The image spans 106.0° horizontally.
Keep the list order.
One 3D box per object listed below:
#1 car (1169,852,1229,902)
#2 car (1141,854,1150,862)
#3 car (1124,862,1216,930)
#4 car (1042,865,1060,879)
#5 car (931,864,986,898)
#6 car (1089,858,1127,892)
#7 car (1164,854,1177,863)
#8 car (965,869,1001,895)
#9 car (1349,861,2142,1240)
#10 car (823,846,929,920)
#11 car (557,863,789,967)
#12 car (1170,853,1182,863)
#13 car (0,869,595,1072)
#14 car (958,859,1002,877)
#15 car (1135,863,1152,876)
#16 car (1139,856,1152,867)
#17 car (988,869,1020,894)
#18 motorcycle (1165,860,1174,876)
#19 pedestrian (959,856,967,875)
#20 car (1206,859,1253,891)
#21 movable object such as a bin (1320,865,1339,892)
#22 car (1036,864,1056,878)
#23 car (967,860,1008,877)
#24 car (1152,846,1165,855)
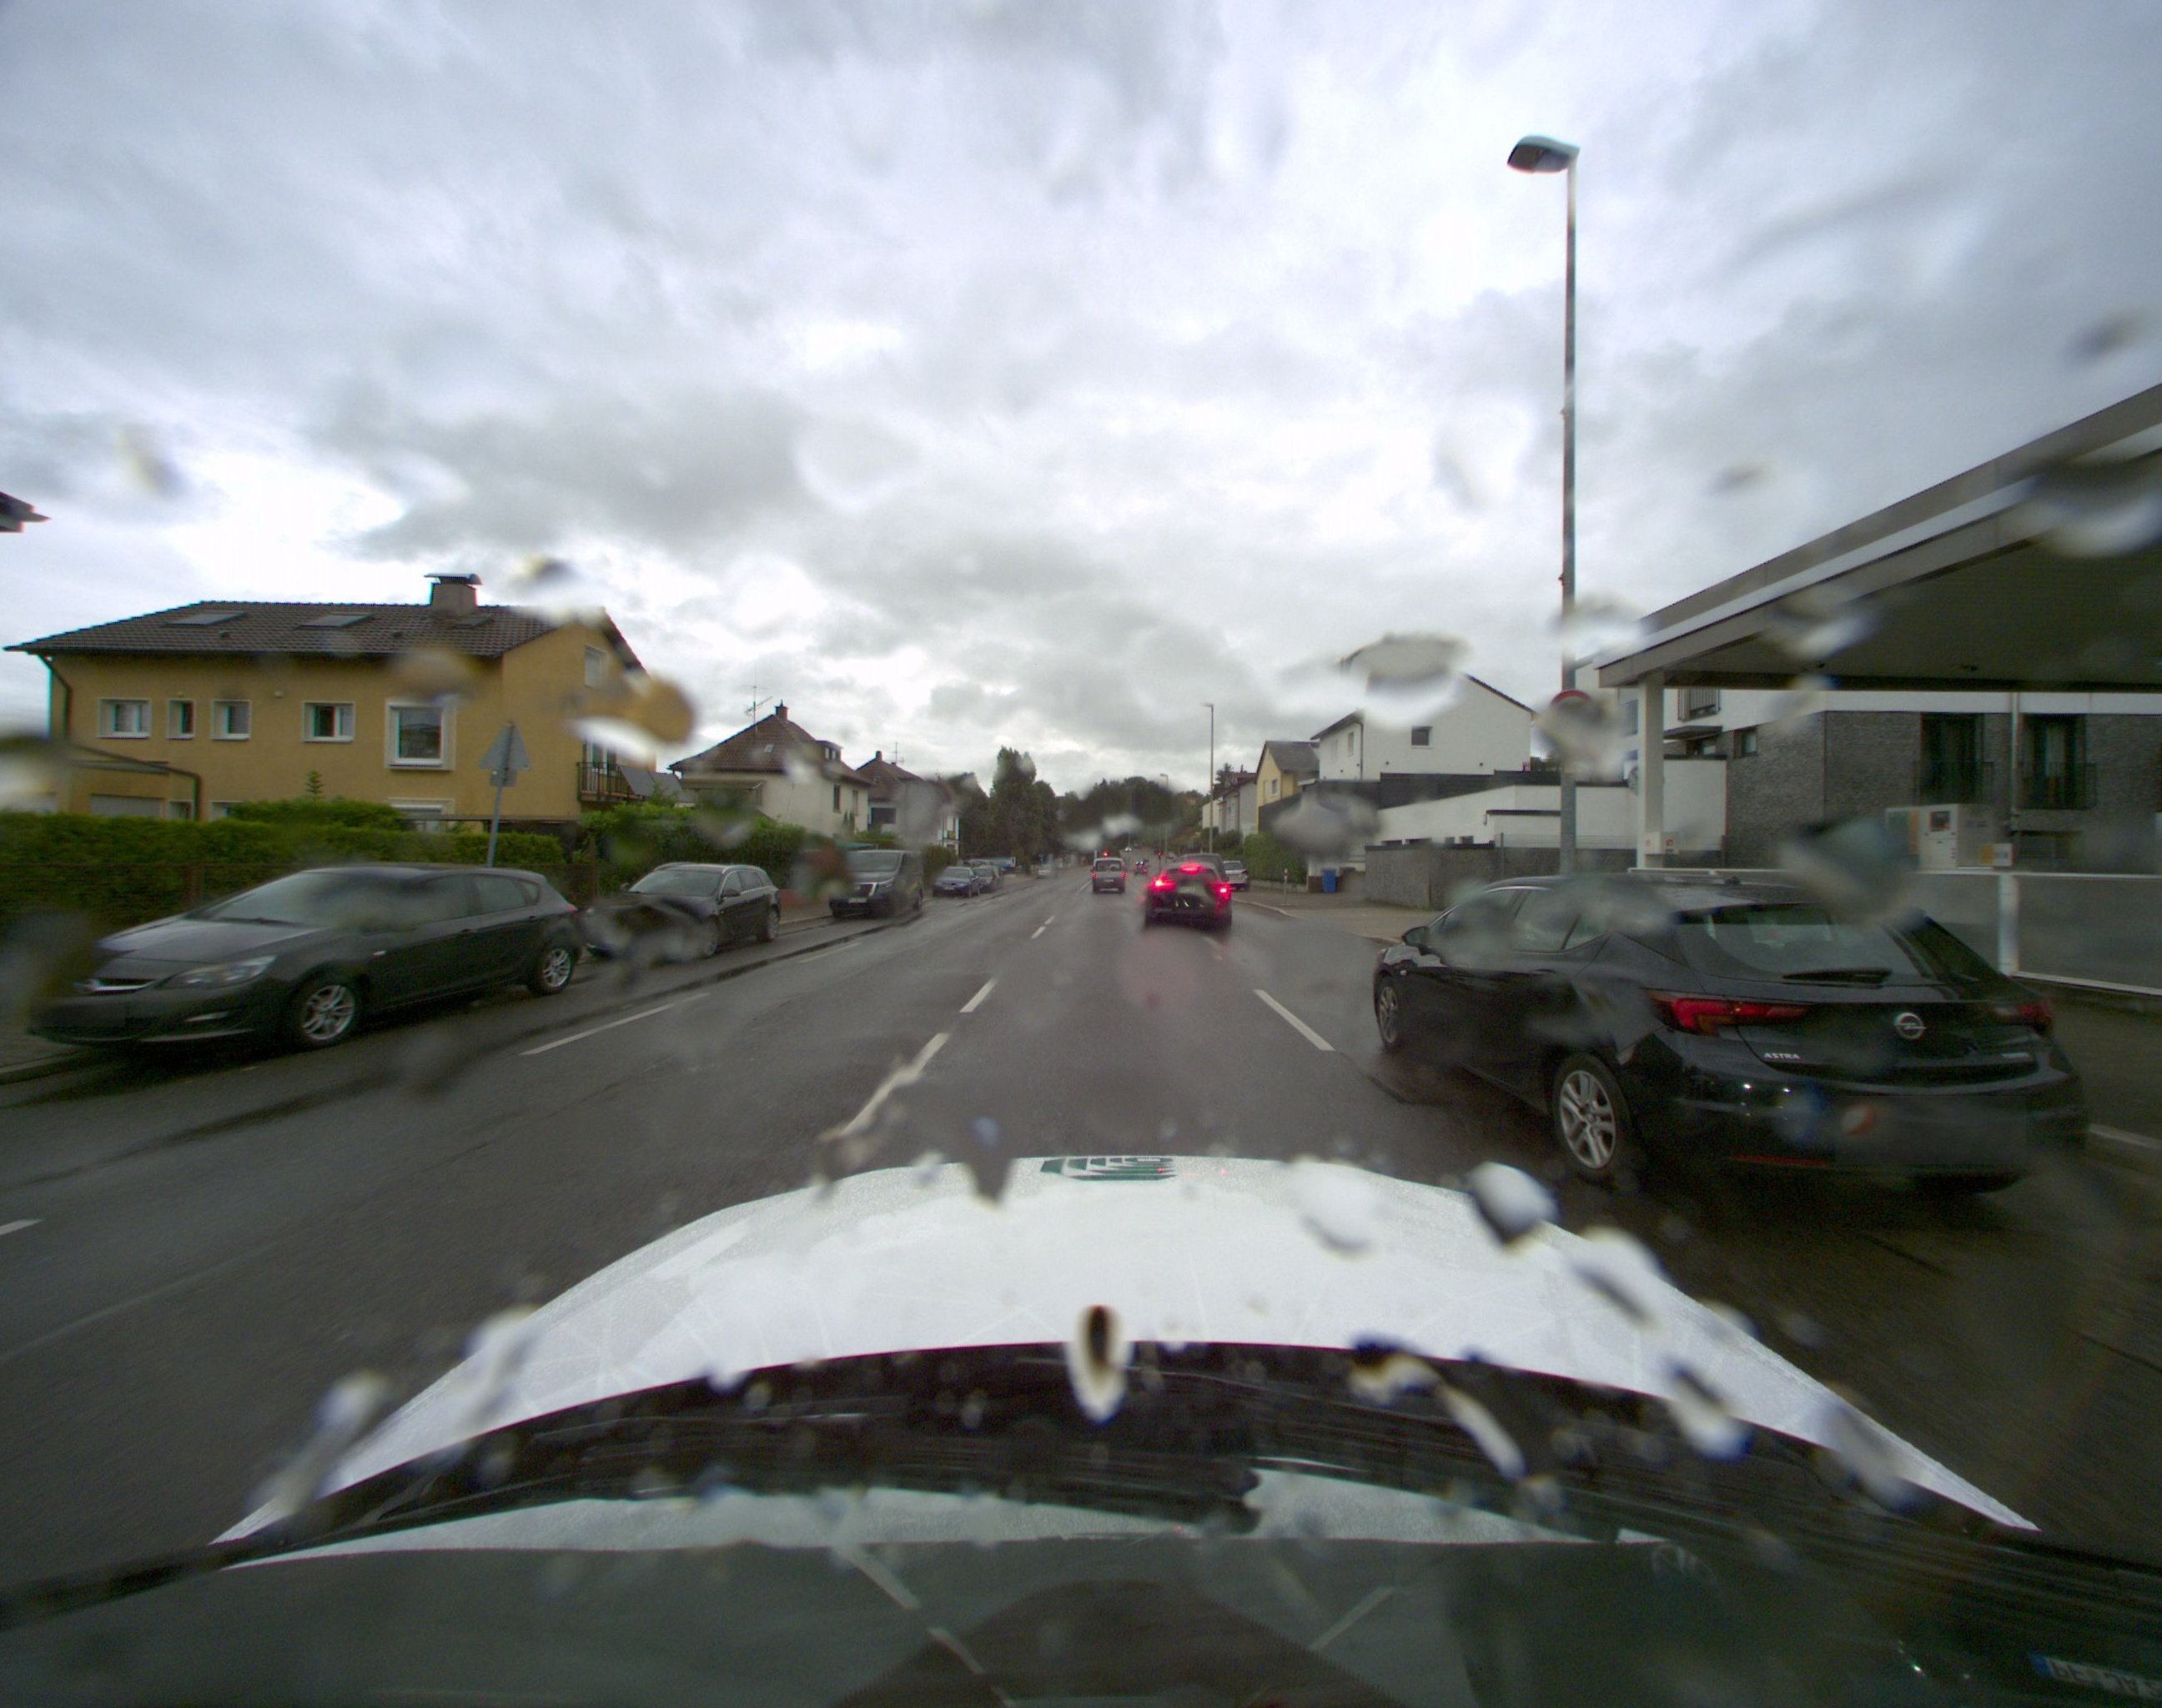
[{"bbox_3d":[4.337,0.832,30.362,1.831,1.767,4.002,0,-1,2],"label":"car"},{"bbox_3d":[15.489,0.876,196.864,1.986,1.771,4.002,-2,1,2],"label":"car"},{"bbox_3d":[2.062,0.941,19.743,1.985,1.484,4.003,0,-1,3],"label":"car"},{"bbox_3d":[-3.635,2.177,99.424,1.877,1.585,4.002,0,-1,2],"label":"car"},{"bbox_3d":[-5.931,1.283,39.880,1.749,1.533,4.290,0,-1,4],"label":"car"},{"bbox_3d":[1.512,1.125,44.543,1.985,1.737,4.002,0,-1,2],"label":"car"},{"bbox_3d":[22.925,1.035,208.632,2.514,2.013,5.607,0,3,-1],"label":"car"},{"bbox_3d":[-5.500,1.555,46.138,1.546,1.431,4.013,0,-1,0],"label":"car"},{"bbox_3d":[3.213,0.783,5.135,1.750,1.449,3.999,0,-1,0],"label":"car"},{"bbox_3d":[-6.049,0.824,24.665,1.907,2.003,5.086,0,-1,0],"label":"car"},{"bbox_3d":[-6.776,0.928,14.185,1.744,1.517,4.526,0,-1,0],"label":"car"},{"bbox_3d":[22.237,0.918,190.689,2.511,2.013,5.614,0,2,3],"label":"car"},{"bbox_3d":[-6.928,0.868,7.911,1.743,1.439,4.132,0,-1,3],"label":"car"},{"bbox_3d":[-10.071,1.375,81.561,4.057,1.516,1.856,4,-1,1],"label":"car"},{"bbox_3d":[8.405,2.148,110.356,1.986,1.578,4.001,-2,0,1],"label":"car"},{"bbox_3d":[14.042,1.579,177.302,2.512,2.013,5.612,0,2,2],"label":"car"},{"bbox_3d":[-4.875,1.717,52.151,1.752,1.533,4.206,0,-1,-1],"label":"car"},{"bbox_3d":[8.284,1.307,76.235,0.700,1.509,2.151,-3,-1,2],"label":"motorcycle"},{"bbox_3d":[-11.202,1.089,77.227,0.599,1.791,0.649,3,-1,-3],"label":"pedestrian"},{"bbox_3d":[7.392,1.018,40.939,1.694,1.510,4.536,0,-1,2],"label":"car"},{"bbox_3d":[10.629,1.054,34.823,0.593,1.105,0.667,-3,-1,1],"label":"movable object such as a bin"},{"bbox_3d":[-3.954,1.904,92.505,1.877,1.585,4.002,0,-1,2],"label":"car"},{"bbox_3d":[-10.128,1.556,88.242,4.057,1.516,1.856,4,-1,1],"label":"car"},{"bbox_3d":[21.370,-0.939,225.399,2.519,2.012,5.598,1,4,-7],"label":"car"}]
